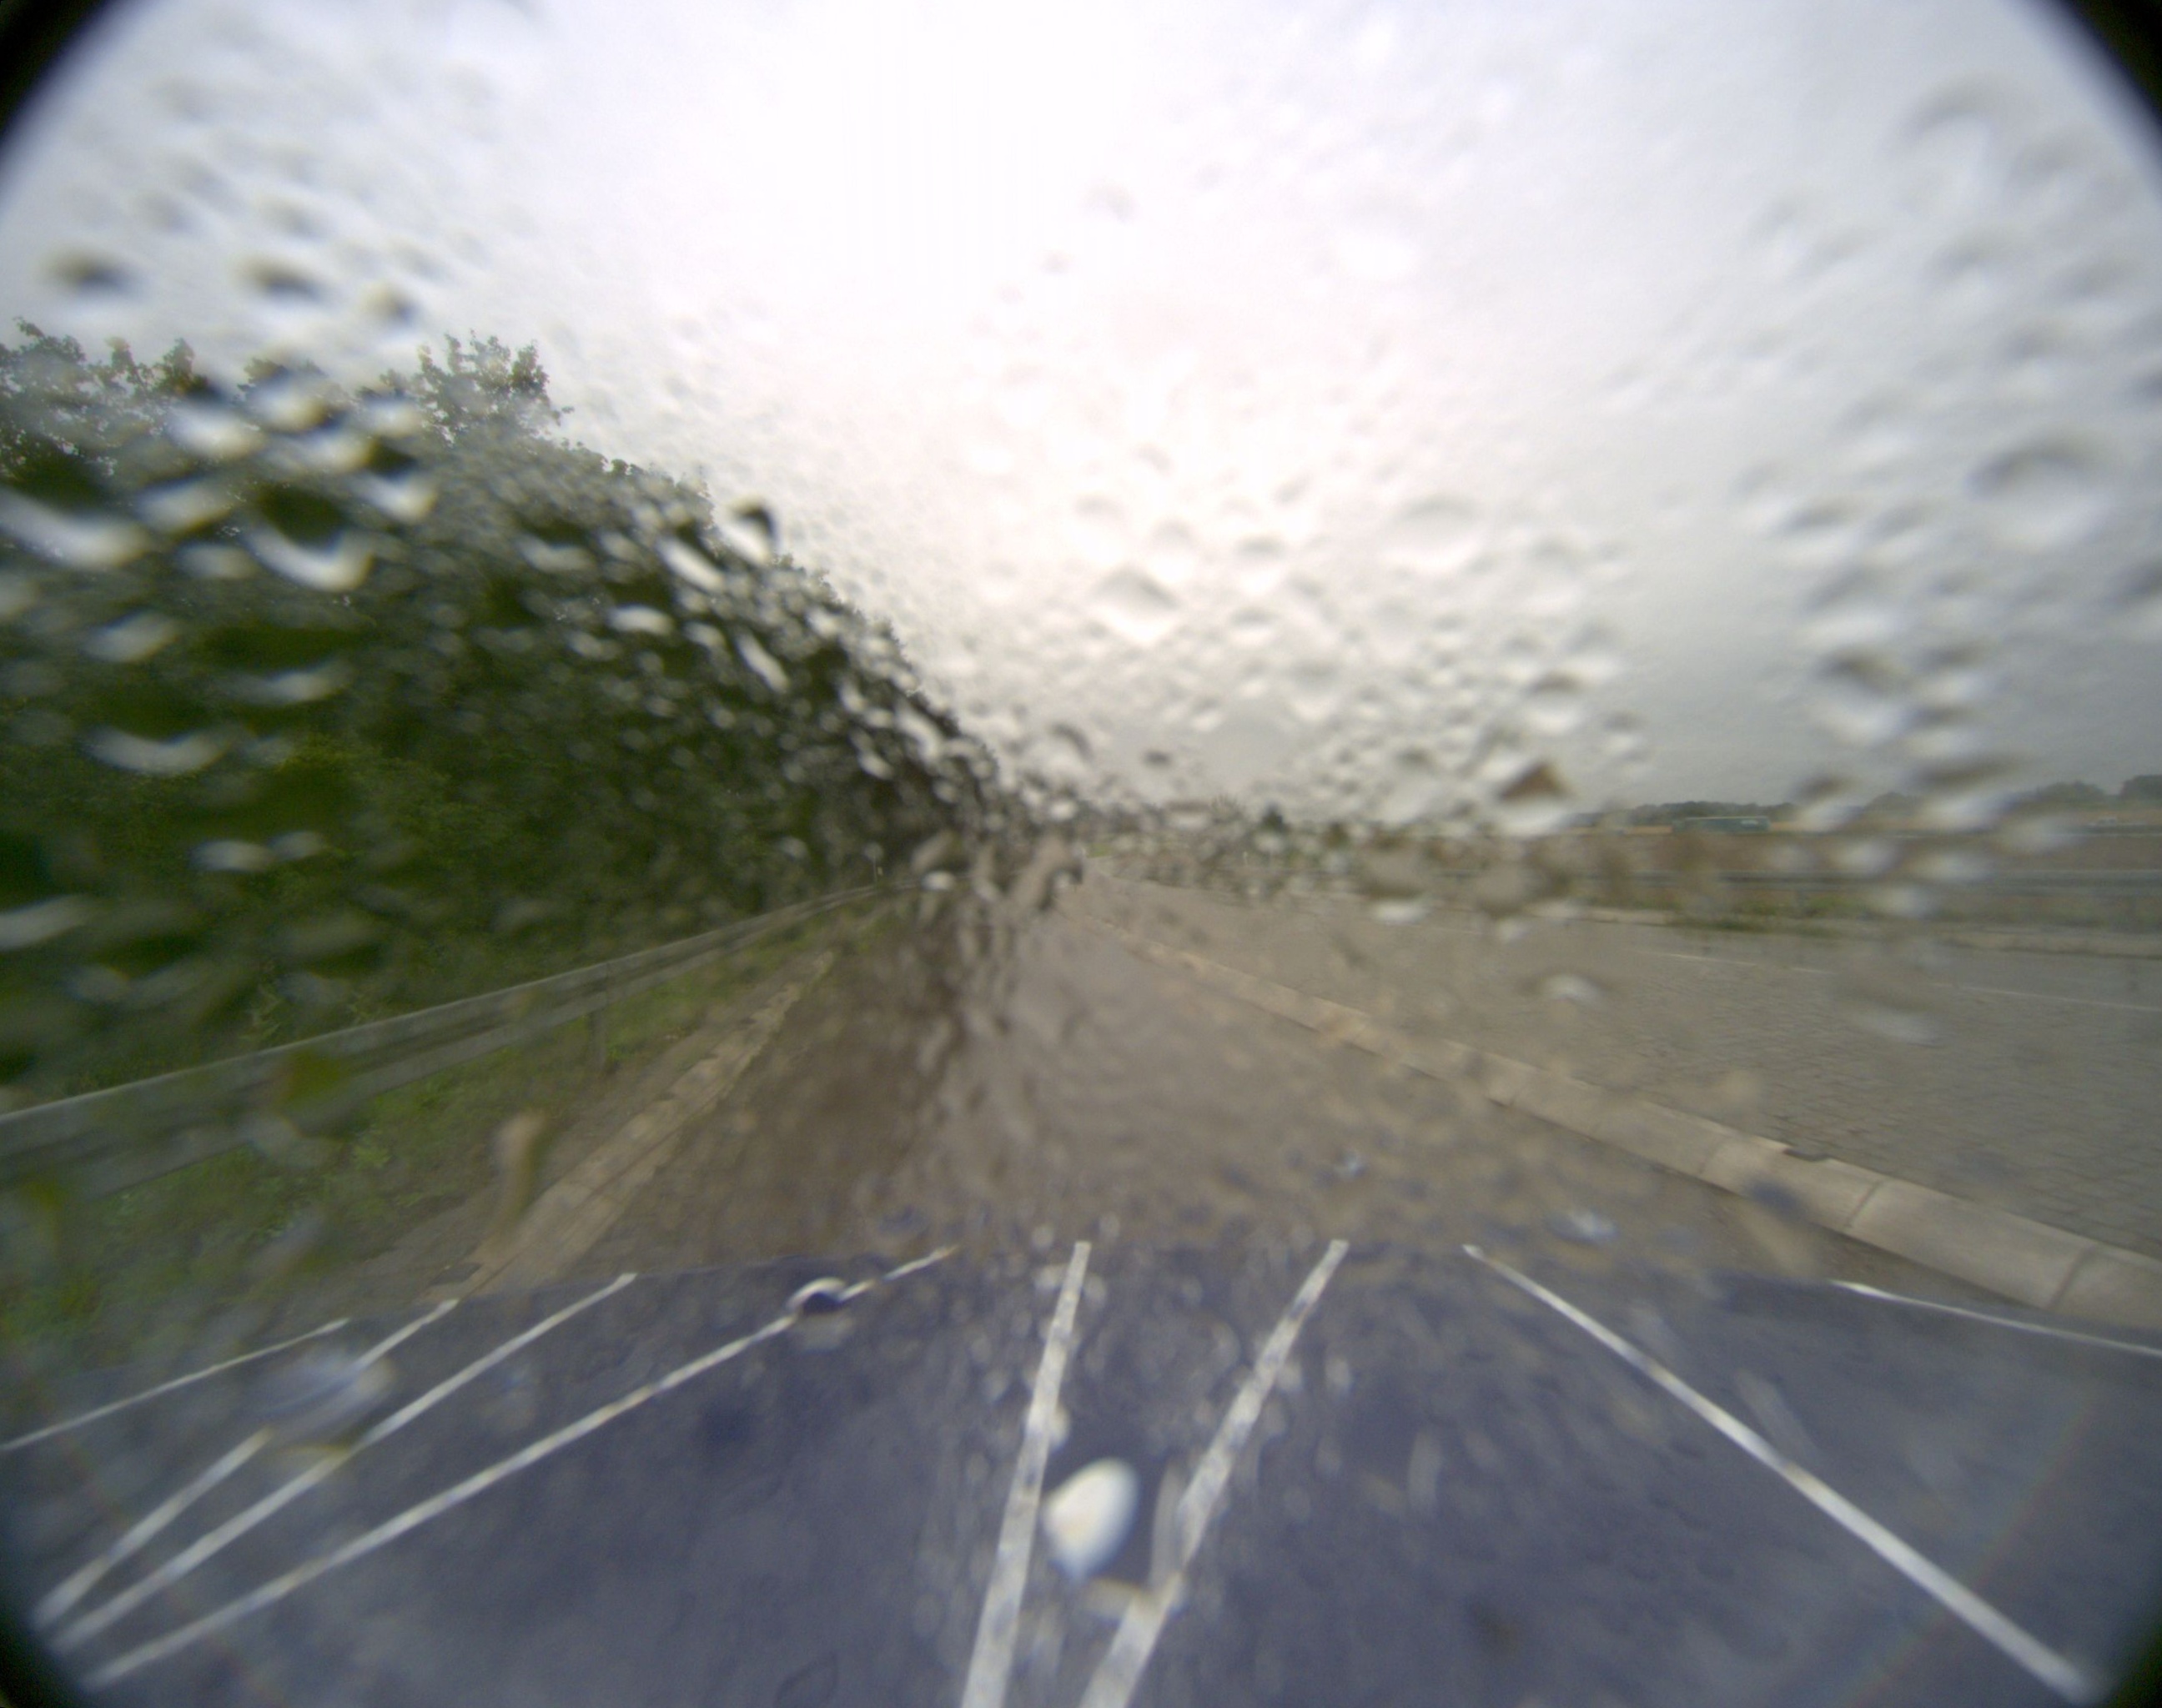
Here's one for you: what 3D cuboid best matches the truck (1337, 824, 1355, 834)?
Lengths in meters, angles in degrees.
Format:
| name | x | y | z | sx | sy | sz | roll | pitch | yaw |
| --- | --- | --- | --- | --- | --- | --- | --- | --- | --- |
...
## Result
| name | x | y | z | sx | sy | sz | roll | pitch | yaw |
| --- | --- | --- | --- | --- | --- | --- | --- | --- | --- |
| truck | 84.877 | -7.976 | 243.257 | 2.003 | 2.896 | 4.866 | -7 | 5 | -37 |

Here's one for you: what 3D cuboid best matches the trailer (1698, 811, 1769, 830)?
| name | x | y | z | sx | sy | sz | roll | pitch | yaw |
| --- | --- | --- | --- | --- | --- | --- | --- | --- | --- |
| trailer | 143.824 | -7.347 | 167.583 | 2.954 | 3.868 | 11.445 | -7 | 5 | -37 |

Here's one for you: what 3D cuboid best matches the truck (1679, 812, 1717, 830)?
| name | x | y | z | sx | sy | sz | roll | pitch | yaw |
| --- | --- | --- | --- | --- | --- | --- | --- | --- | --- |
| truck | 140.091 | -7.470 | 172.547 | 2.954 | 3.894 | 6.258 | -7 | 5 | -37 |

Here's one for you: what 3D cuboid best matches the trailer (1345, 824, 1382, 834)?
| name | x | y | z | sx | sy | sz | roll | pitch | yaw |
| --- | --- | --- | --- | --- | --- | --- | --- | --- | --- |
| trailer | 88.592 | -7.860 | 238.320 | 2.003 | 2.896 | 11.445 | -7 | 5 | -37 |
